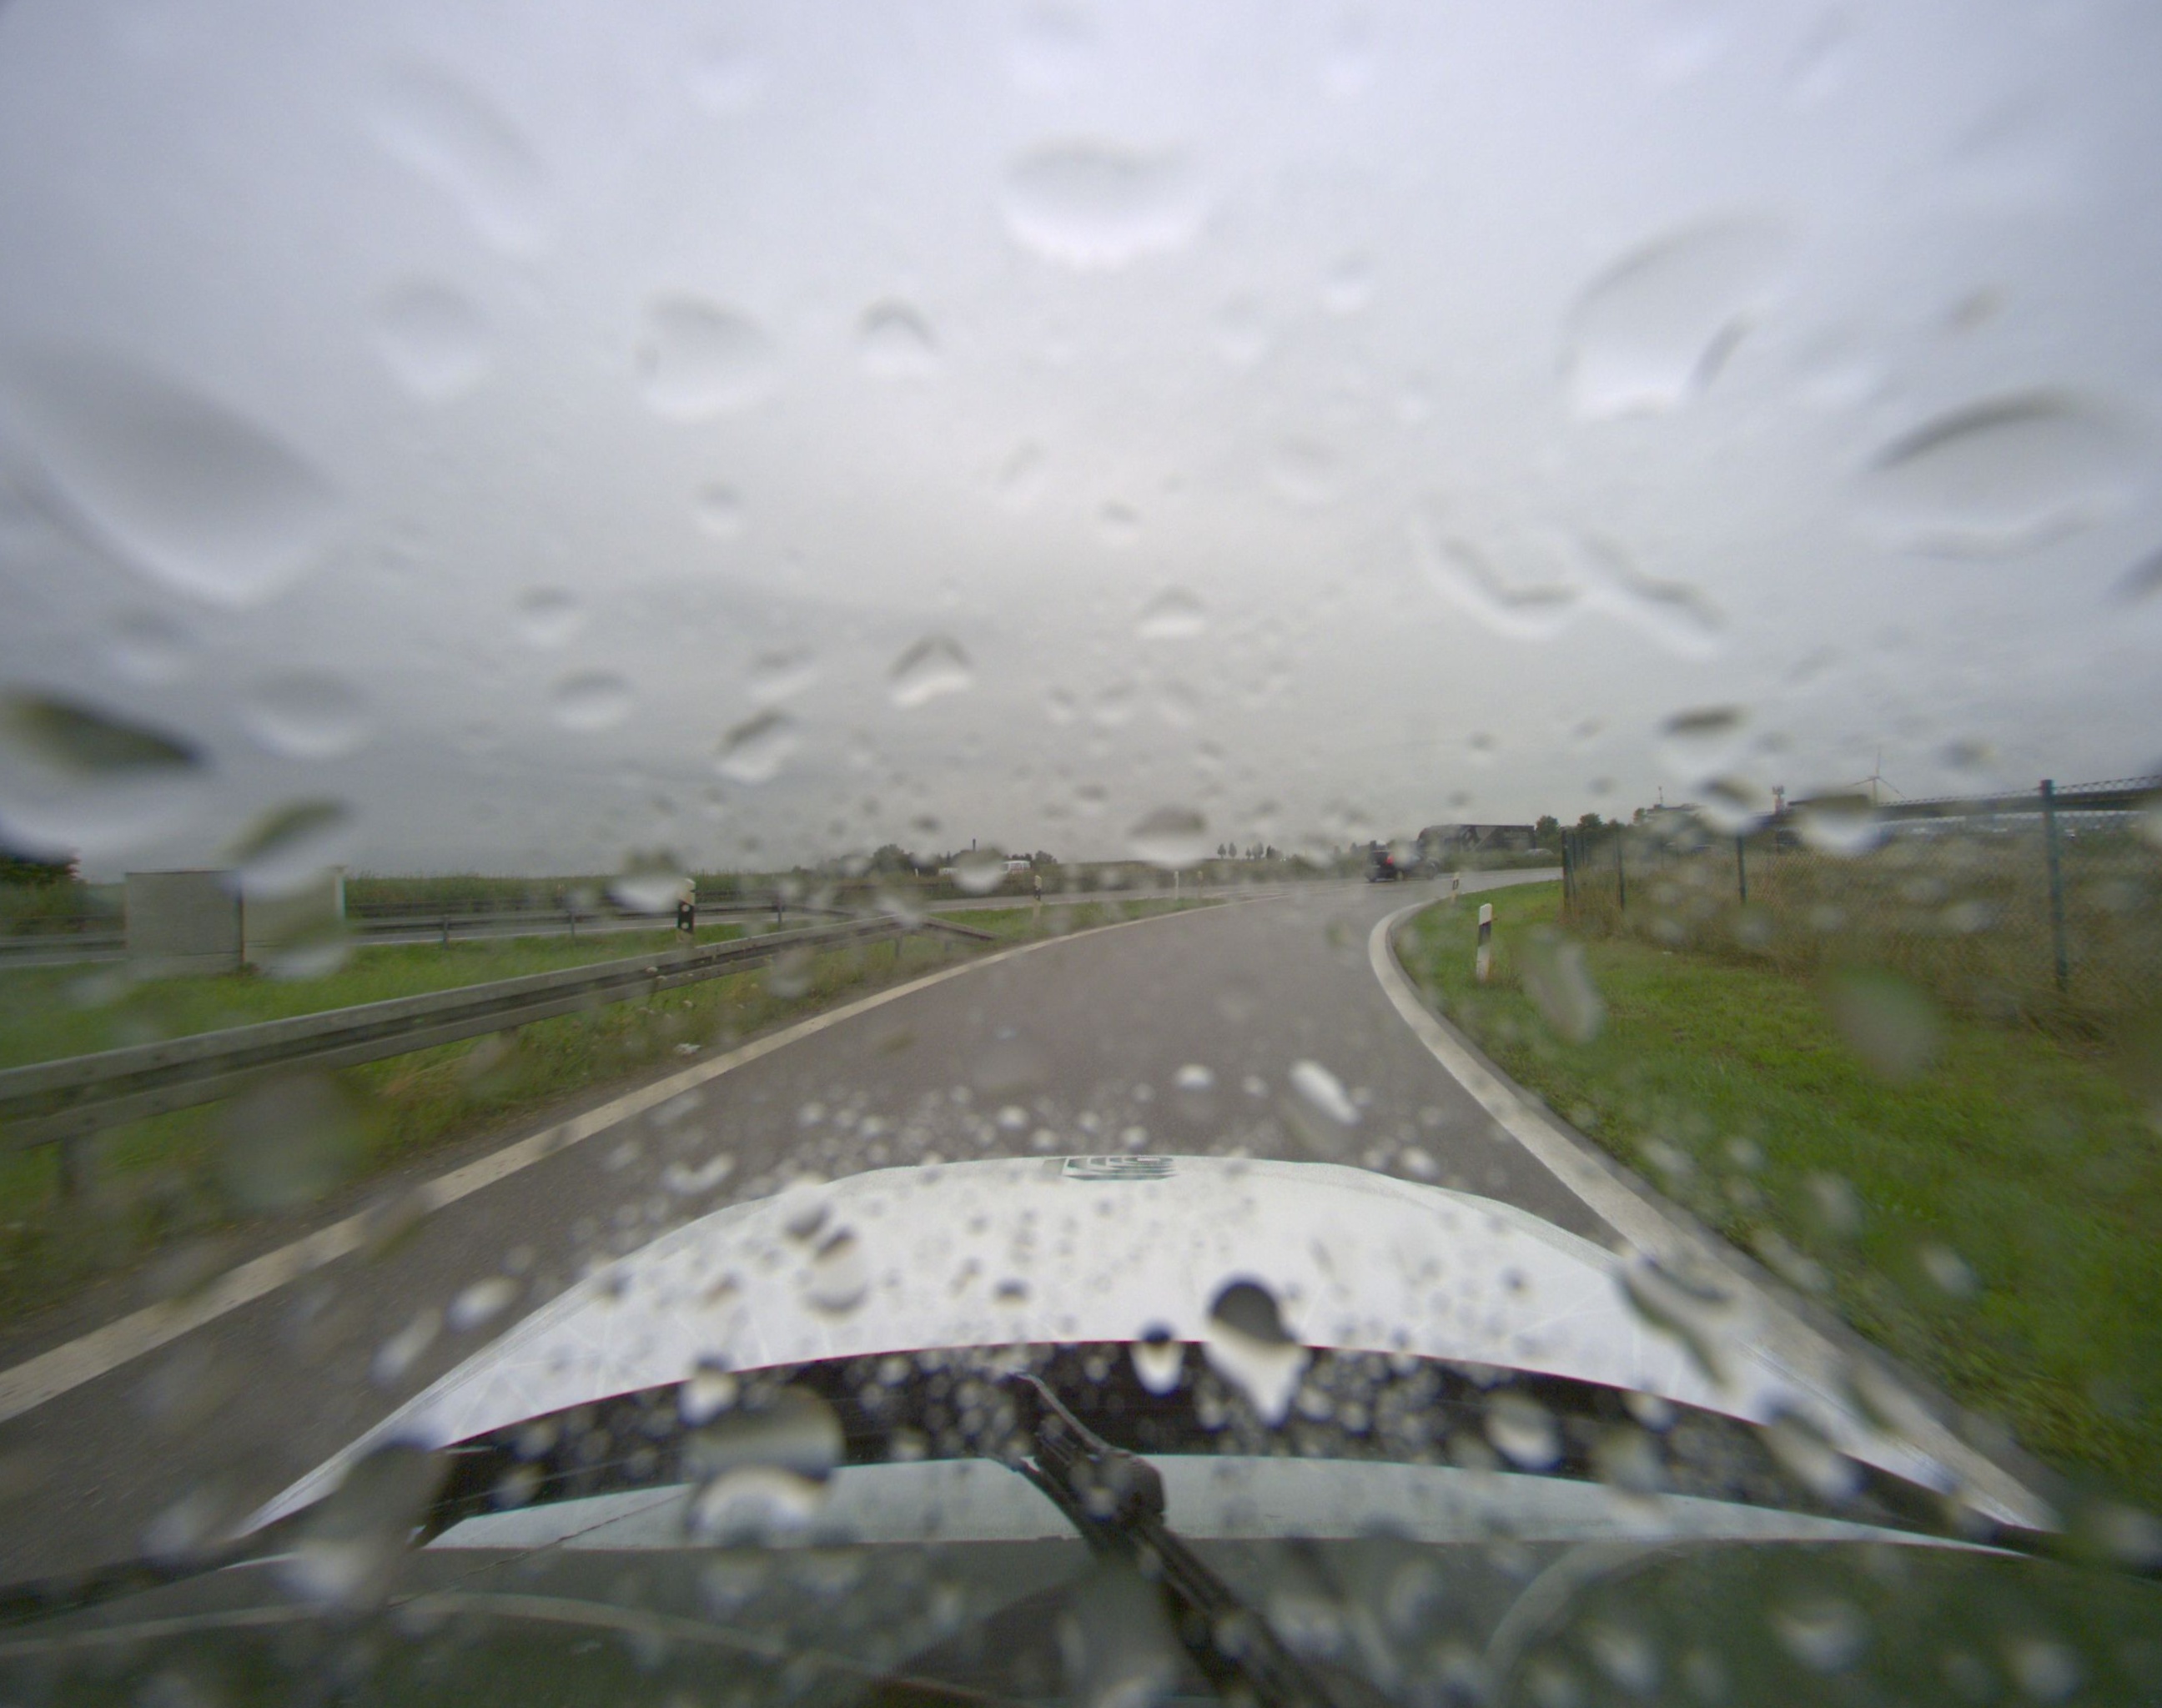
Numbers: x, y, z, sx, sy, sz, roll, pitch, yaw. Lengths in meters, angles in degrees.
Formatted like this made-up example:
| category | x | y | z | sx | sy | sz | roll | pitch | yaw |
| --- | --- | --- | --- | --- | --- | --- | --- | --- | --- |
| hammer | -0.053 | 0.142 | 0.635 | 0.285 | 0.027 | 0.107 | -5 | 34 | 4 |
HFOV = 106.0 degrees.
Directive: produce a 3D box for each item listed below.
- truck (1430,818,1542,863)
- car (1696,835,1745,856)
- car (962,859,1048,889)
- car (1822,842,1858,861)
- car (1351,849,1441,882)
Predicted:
| category | x | y | z | sx | sy | sz | roll | pitch | yaw |
| --- | --- | --- | --- | --- | --- | --- | --- | --- | --- |
| truck | 38.409 | -1.344 | 76.871 | 13.870 | 3.966 | 3.171 | -1 | 1 | -35 |
| car | 54.080 | -0.729 | 68.818 | 4.367 | 1.636 | 2.037 | -1 | -1 | -35 |
| car | -4.368 | 1.112 | 47.160 | 4.550 | 1.539 | 2.089 | -1 | 0 | -35 |
| car | 83.590 | -0.290 | 89.643 | 4.017 | 1.697 | 1.978 | -4 | -2 | -35 |
| car | 16.255 | 0.571 | 41.962 | 4.614 | 1.636 | 2.129 | 0 | -1 | -35 |
